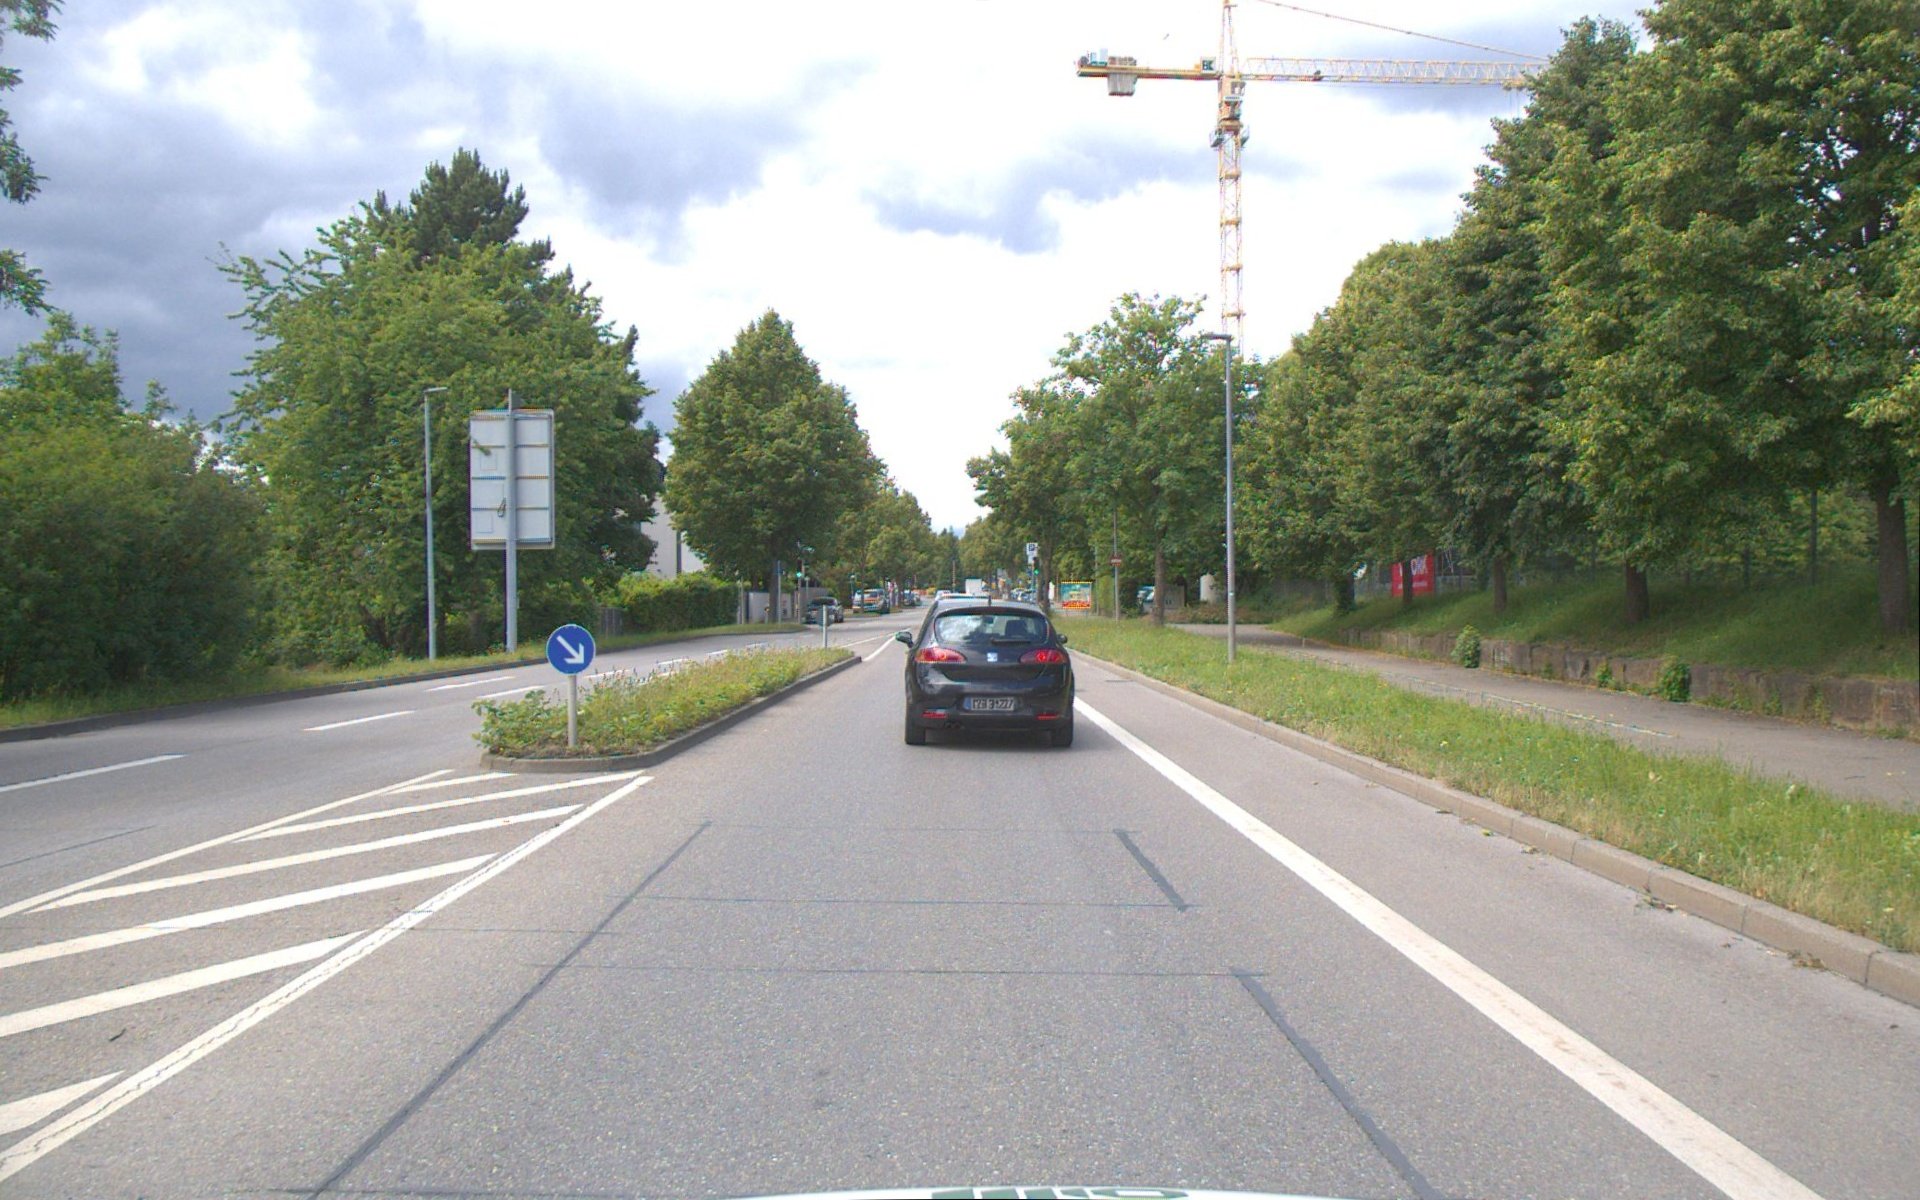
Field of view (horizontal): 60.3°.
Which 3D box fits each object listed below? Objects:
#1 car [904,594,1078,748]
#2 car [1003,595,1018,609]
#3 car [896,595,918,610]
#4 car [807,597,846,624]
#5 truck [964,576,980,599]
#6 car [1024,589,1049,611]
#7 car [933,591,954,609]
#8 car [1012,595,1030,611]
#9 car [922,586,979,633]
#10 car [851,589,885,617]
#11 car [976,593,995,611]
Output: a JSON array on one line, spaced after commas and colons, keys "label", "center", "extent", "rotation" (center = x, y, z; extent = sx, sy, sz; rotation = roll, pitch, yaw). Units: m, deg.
[{"label": "car", "center": [0.280, 0.684, 17.664], "extent": [1.629, 1.426, 3.811], "rotation": [1, 0, -1]}, {"label": "car", "center": [5.766, 0.234, 189.059], "extent": [1.653, 1.591, 4.214], "rotation": [-2, 0, 1]}, {"label": "car", "center": [-5.722, 0.270, 178.974], "extent": [2.057, 1.532, 5.784], "rotation": [-2, 0, 1]}, {"label": "car", "center": [-7.416, 0.546, 92.496], "extent": [1.683, 1.419, 4.801], "rotation": [-2, 0, 1]}, {"label": "truck", "center": [1.674, -1.711, 236.255], "extent": [2.232, 3.158, 8.510], "rotation": [2, 0, 0]}, {"label": "car", "center": [5.347, -0.025, 116.126], "extent": [1.653, 1.516, 3.355], "rotation": [0, 0, 1]}, {"label": "car", "center": [-1.615, 0.005, 166.123], "extent": [1.836, 1.663, 4.342], "rotation": [-2, 0, 3]}, {"label": "car", "center": [6.033, 0.284, 164.504], "extent": [1.653, 1.591, 4.214], "rotation": [0, 0, 1]}, {"label": "car", "center": [-0.292, 0.315, 57.077], "extent": [1.808, 1.536, 3.812], "rotation": [1, 0, 1]}, {"label": "car", "center": [-6.767, 0.189, 121.699], "extent": [2.057, 1.929, 5.784], "rotation": [-2, 0, 1]}, {"label": "car", "center": [2.494, 0.227, 160.966], "extent": [1.842, 1.718, 4.214], "rotation": [0, 0, 1]}]
